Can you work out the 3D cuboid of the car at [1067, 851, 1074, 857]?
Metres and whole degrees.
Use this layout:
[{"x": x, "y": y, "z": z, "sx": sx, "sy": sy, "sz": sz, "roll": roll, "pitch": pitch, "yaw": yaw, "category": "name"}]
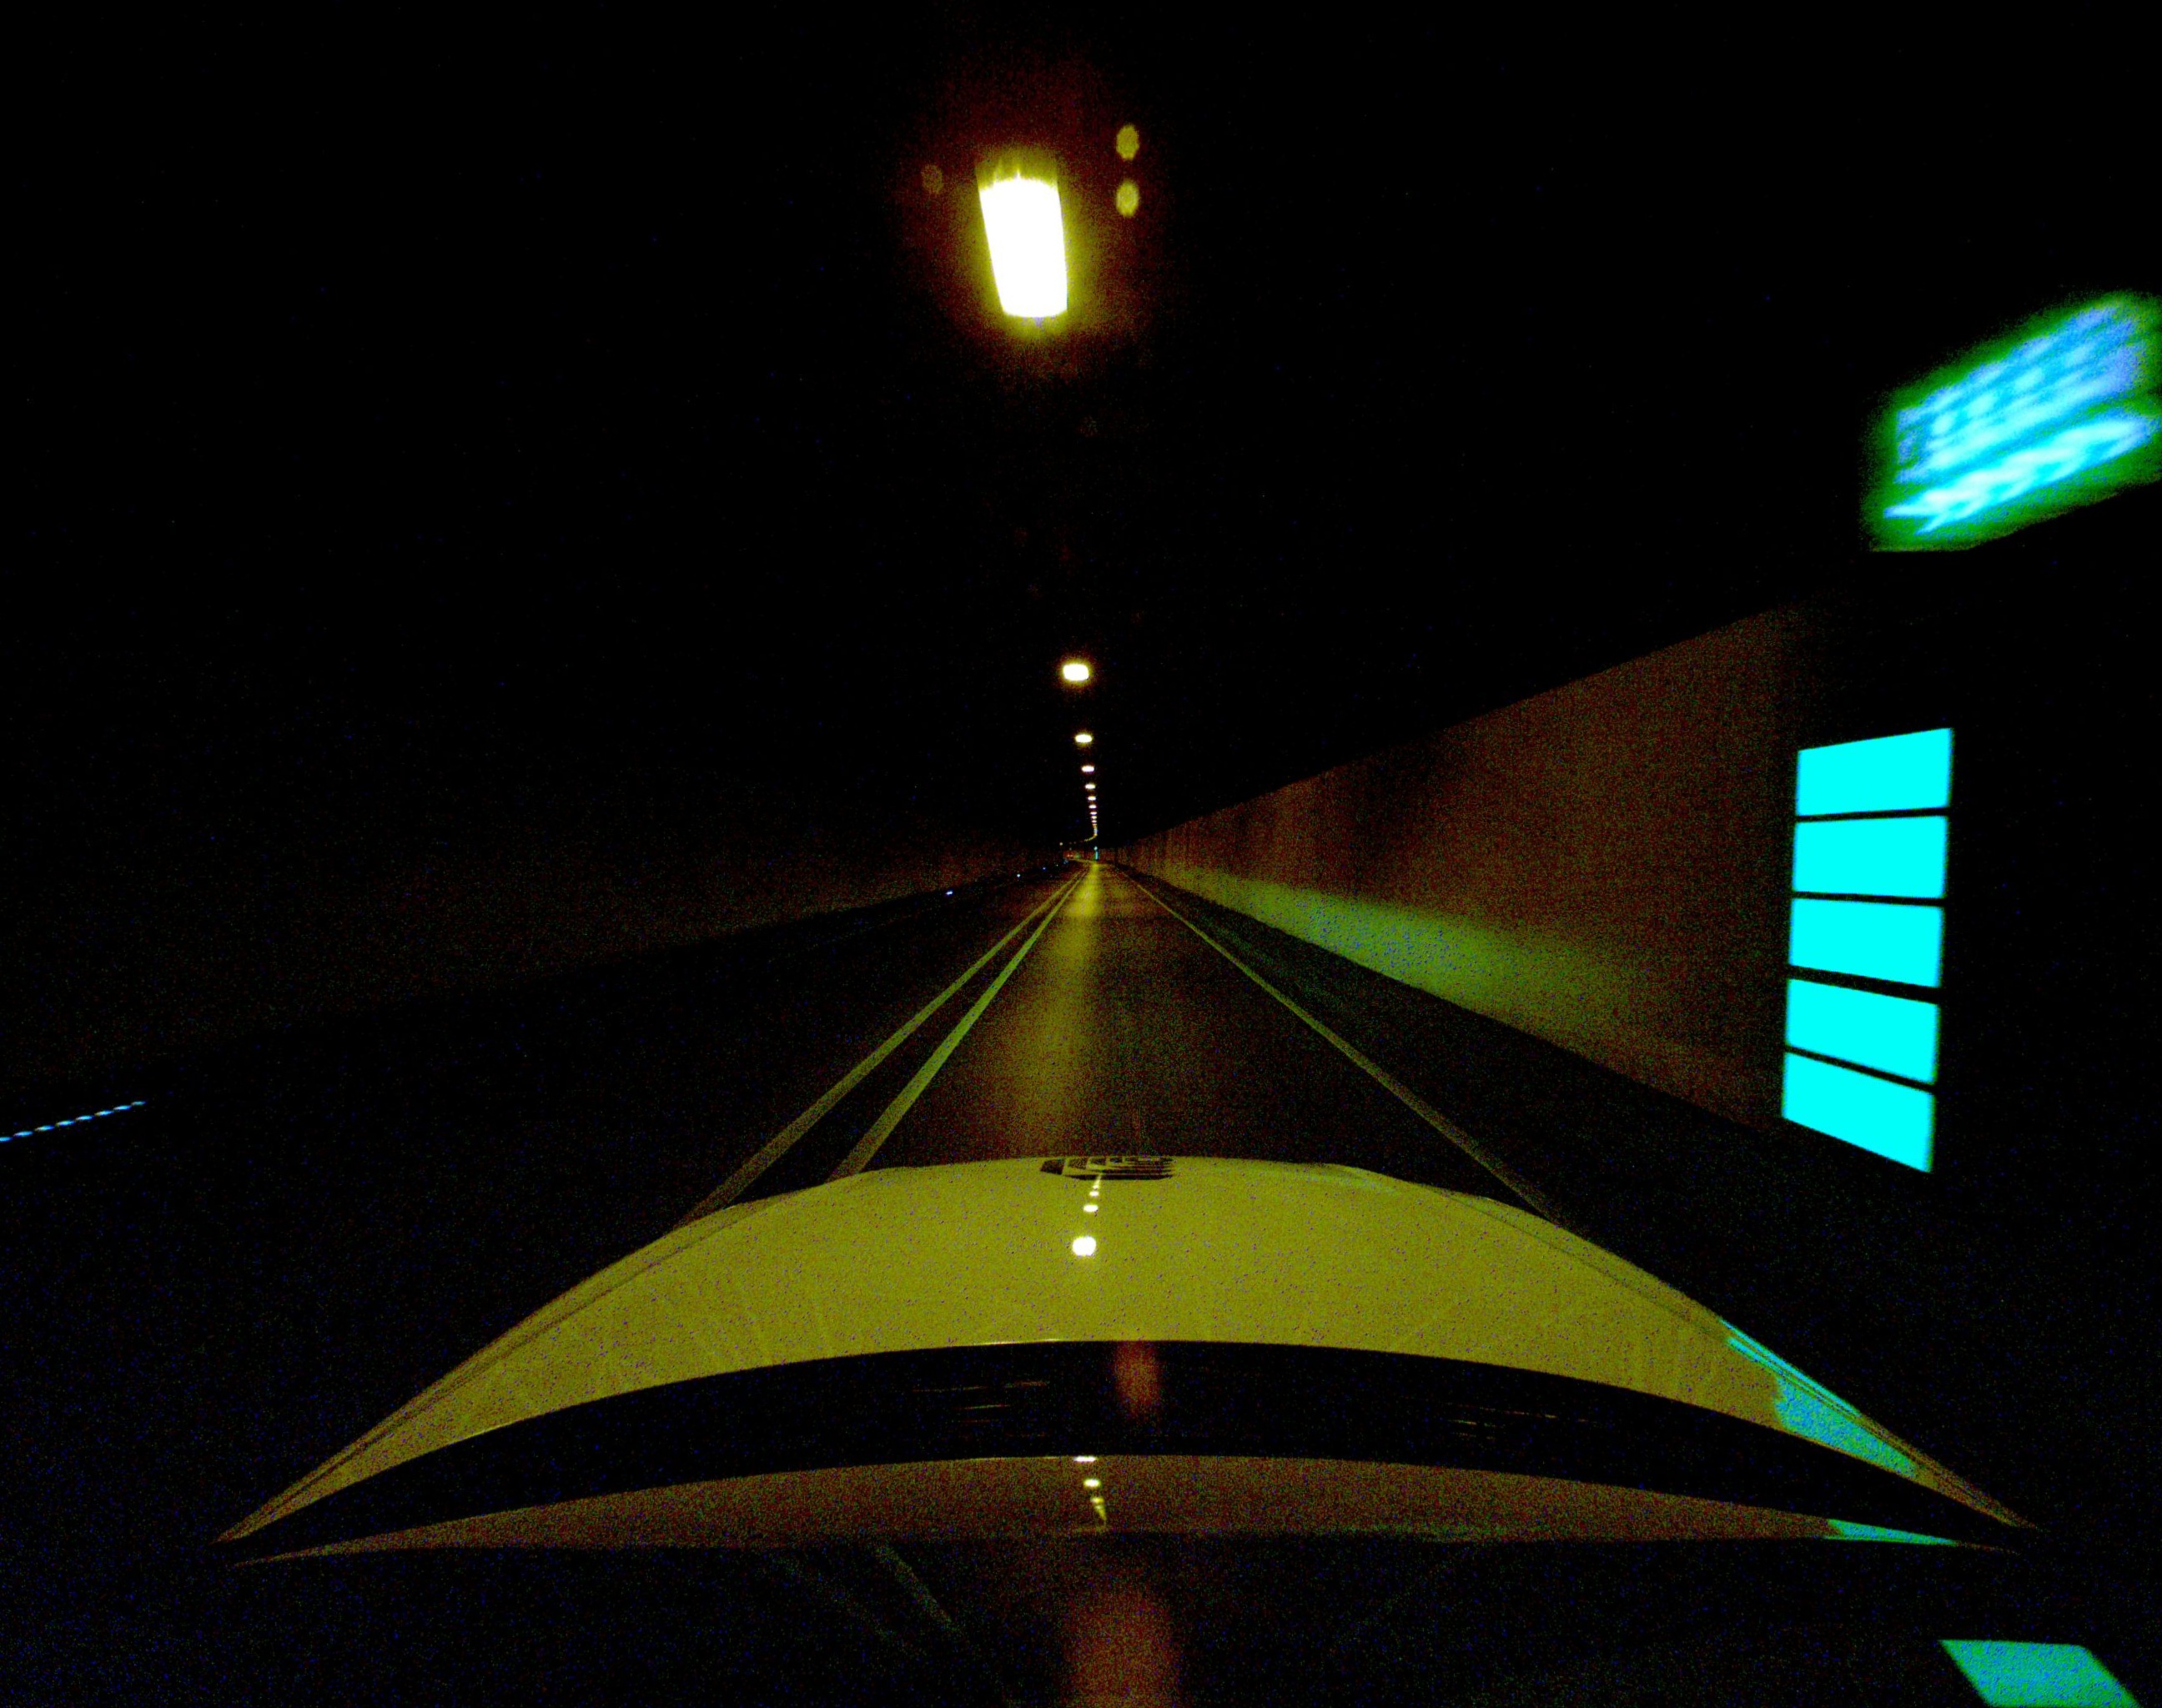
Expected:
[{"x": -3.150, "y": 0.074, "z": 249.652, "sx": 1.963, "sy": 1.939, "sz": 4.605, "roll": 0, "pitch": -1, "yaw": -4, "category": "car"}]
